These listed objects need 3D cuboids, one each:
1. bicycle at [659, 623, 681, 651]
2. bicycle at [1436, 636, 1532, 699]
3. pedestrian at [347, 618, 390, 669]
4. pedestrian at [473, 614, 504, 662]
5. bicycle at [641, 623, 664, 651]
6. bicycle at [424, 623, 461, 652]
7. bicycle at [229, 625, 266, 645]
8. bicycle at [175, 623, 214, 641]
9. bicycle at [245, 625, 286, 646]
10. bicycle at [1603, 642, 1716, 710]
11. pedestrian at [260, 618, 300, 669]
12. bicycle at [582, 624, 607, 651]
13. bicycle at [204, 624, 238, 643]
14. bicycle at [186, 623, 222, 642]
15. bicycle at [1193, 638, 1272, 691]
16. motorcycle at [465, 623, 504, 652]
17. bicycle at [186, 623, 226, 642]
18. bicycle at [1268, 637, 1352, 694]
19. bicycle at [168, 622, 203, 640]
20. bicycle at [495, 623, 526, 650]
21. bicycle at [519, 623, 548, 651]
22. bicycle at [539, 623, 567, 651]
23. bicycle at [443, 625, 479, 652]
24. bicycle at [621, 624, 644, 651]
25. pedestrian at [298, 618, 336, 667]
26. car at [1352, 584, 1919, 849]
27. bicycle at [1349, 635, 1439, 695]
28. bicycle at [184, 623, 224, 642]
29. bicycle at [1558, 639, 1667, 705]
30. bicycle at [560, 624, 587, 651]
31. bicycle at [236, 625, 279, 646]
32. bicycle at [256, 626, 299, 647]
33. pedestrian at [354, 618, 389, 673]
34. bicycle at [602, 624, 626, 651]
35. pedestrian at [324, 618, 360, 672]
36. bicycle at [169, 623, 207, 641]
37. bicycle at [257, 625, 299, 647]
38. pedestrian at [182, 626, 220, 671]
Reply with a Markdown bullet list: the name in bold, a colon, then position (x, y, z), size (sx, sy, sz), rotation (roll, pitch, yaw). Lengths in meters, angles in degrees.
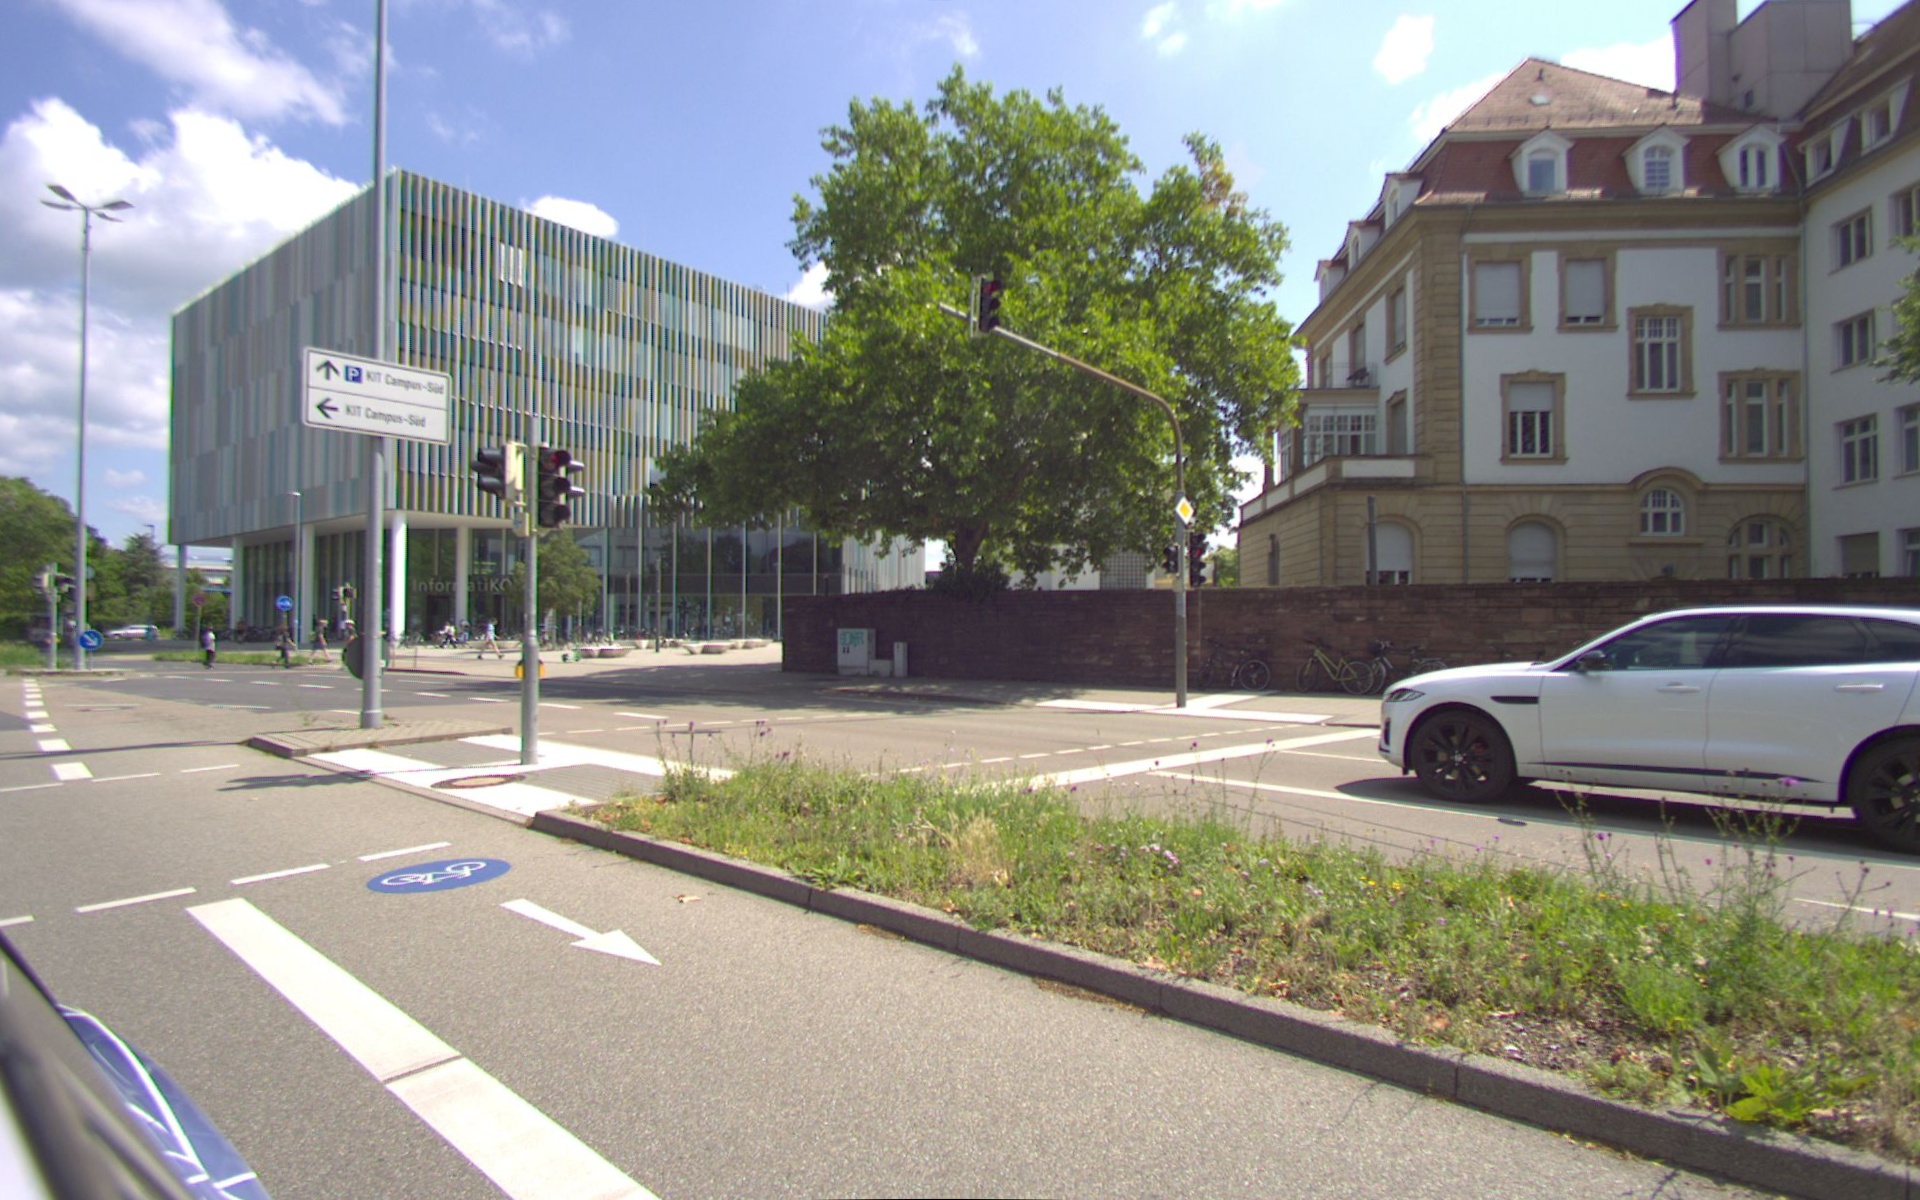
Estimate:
- **bicycle**: position (-16.867, 2.150, 58.924), size (0.983, 1.564, 3.423), rotation (0, -1, -12)
- **bicycle**: position (10.075, 1.273, 19.487), size (1.591, 1.161, 0.408), rotation (-1, -2, 36)
- **pedestrian**: position (-22.828, 1.672, 39.088), size (0.968, 1.940, 1.097), rotation (-1, -1, 31)
- **pedestrian**: position (-19.693, 1.565, 42.252), size (1.090, 1.940, 0.975), rotation (0, -1, -30)
- **bicycle**: position (-18.190, 2.163, 59.927), size (0.983, 1.564, 3.423), rotation (0, -1, -12)
- **bicycle**: position (-30.405, 2.169, 59.525), size (0.798, 1.656, 3.420), rotation (0, -1, -8)
- **bicycle**: position (-53.559, 2.604, 76.104), size (0.621, 1.506, 2.171), rotation (-1, -2, 41)
- **bicycle**: position (-63.563, 2.640, 84.055), size (0.621, 1.506, 2.479), rotation (-1, -2, 41)
- **bicycle**: position (-51.526, 2.604, 75.101), size (0.621, 1.506, 2.479), rotation (-1, -2, 41)
- **bicycle**: position (12.210, 1.323, 17.700), size (1.576, 1.161, 0.401), rotation (0, -2, 9)
- **pedestrian**: position (-26.415, 1.689, 39.311), size (0.964, 1.940, 0.873), rotation (-1, -1, 20)
- **bicycle**: position (-21.516, 2.187, 59.649), size (0.983, 1.564, 3.423), rotation (0, -1, -12)
- **bicycle**: position (-58.473, 2.623, 80.103), size (0.621, 1.506, 2.044), rotation (-1, -2, 41)
- **bicycle**: position (-62.112, 2.638, 83.147), size (0.621, 1.506, 2.299), rotation (-1, -2, 41)
- **bicycle**: position (5.998, 1.403, 22.311), size (1.589, 1.107, 0.567), rotation (-1, -2, 33)
- **motorcycle**: position (-28.026, 2.165, 59.716), size (0.957, 1.652, 3.301), rotation (0, -1, -5)
- **bicycle**: position (-60.669, 2.626, 81.479), size (0.621, 1.506, 2.479), rotation (-1, -2, 41)
- **bicycle**: position (7.374, 1.364, 21.349), size (1.589, 1.161, 0.495), rotation (-1, -2, 33)
- **bicycle**: position (-65.791, 2.650, 85.939), size (0.656, 1.506, 2.272), rotation (-1, -2, 41)
- **bicycle**: position (-26.582, 2.150, 59.921), size (1.034, 1.564, 3.423), rotation (0, -1, -12)
- **bicycle**: position (-25.225, 2.161, 59.911), size (0.983, 1.564, 3.423), rotation (0, -1, -12)
- **bicycle**: position (-24.064, 2.170, 59.914), size (0.983, 1.564, 3.423), rotation (0, -1, -12)
- **bicycle**: position (-29.362, 2.262, 59.615), size (0.919, 1.505, 2.690), rotation (0, -1, -4)
- **bicycle**: position (-19.295, 2.205, 59.714), size (0.983, 1.564, 3.423), rotation (0, -1, -12)
- **pedestrian**: position (-25.979, 1.720, 40.893), size (0.965, 1.940, 0.872), rotation (-1, -1, 22)
- **car**: position (5.890, 0.775, 8.021), size (4.775, 1.680, 2.048), rotation (-1, -2, 43)
- **bicycle**: position (8.746, 1.293, 20.418), size (1.589, 1.161, 0.616), rotation (-1, -2, 33)
- **bicycle**: position (-61.447, 2.631, 82.280), size (0.621, 1.506, 2.479), rotation (-1, -2, 41)
- **bicycle**: position (11.800, 1.289, 18.327), size (1.581, 1.161, 0.400), rotation (-1, -2, 19)
- **bicycle**: position (-22.840, 2.182, 59.924), size (0.983, 1.564, 3.423), rotation (0, -1, -12)
- **bicycle**: position (-51.326, 2.590, 73.953), size (0.621, 1.506, 2.479), rotation (-1, -2, 41)
- **bicycle**: position (-48.359, 2.582, 71.751), size (0.621, 1.506, 2.419), rotation (-1, -2, 41)
- **pedestrian**: position (-21.484, 1.646, 36.976), size (1.090, 1.940, 0.975), rotation (0, -1, -29)
- **bicycle**: position (-20.405, 2.197, 59.769), size (0.983, 1.564, 3.423), rotation (0, -1, -12)
- **pedestrian**: position (-22.881, 1.645, 37.470), size (1.091, 1.940, 0.974), rotation (0, -1, -34)
- **bicycle**: position (-64.427, 2.640, 84.478), size (0.621, 1.506, 2.479), rotation (-1, -2, 41)
- **bicycle**: position (-48.932, 2.589, 72.628), size (2.473, 1.506, 0.731), rotation (1, -2, -39)
- **pedestrian**: position (-28.258, 1.787, 37.685), size (0.969, 1.641, 0.869), rotation (-1, -1, 33)
